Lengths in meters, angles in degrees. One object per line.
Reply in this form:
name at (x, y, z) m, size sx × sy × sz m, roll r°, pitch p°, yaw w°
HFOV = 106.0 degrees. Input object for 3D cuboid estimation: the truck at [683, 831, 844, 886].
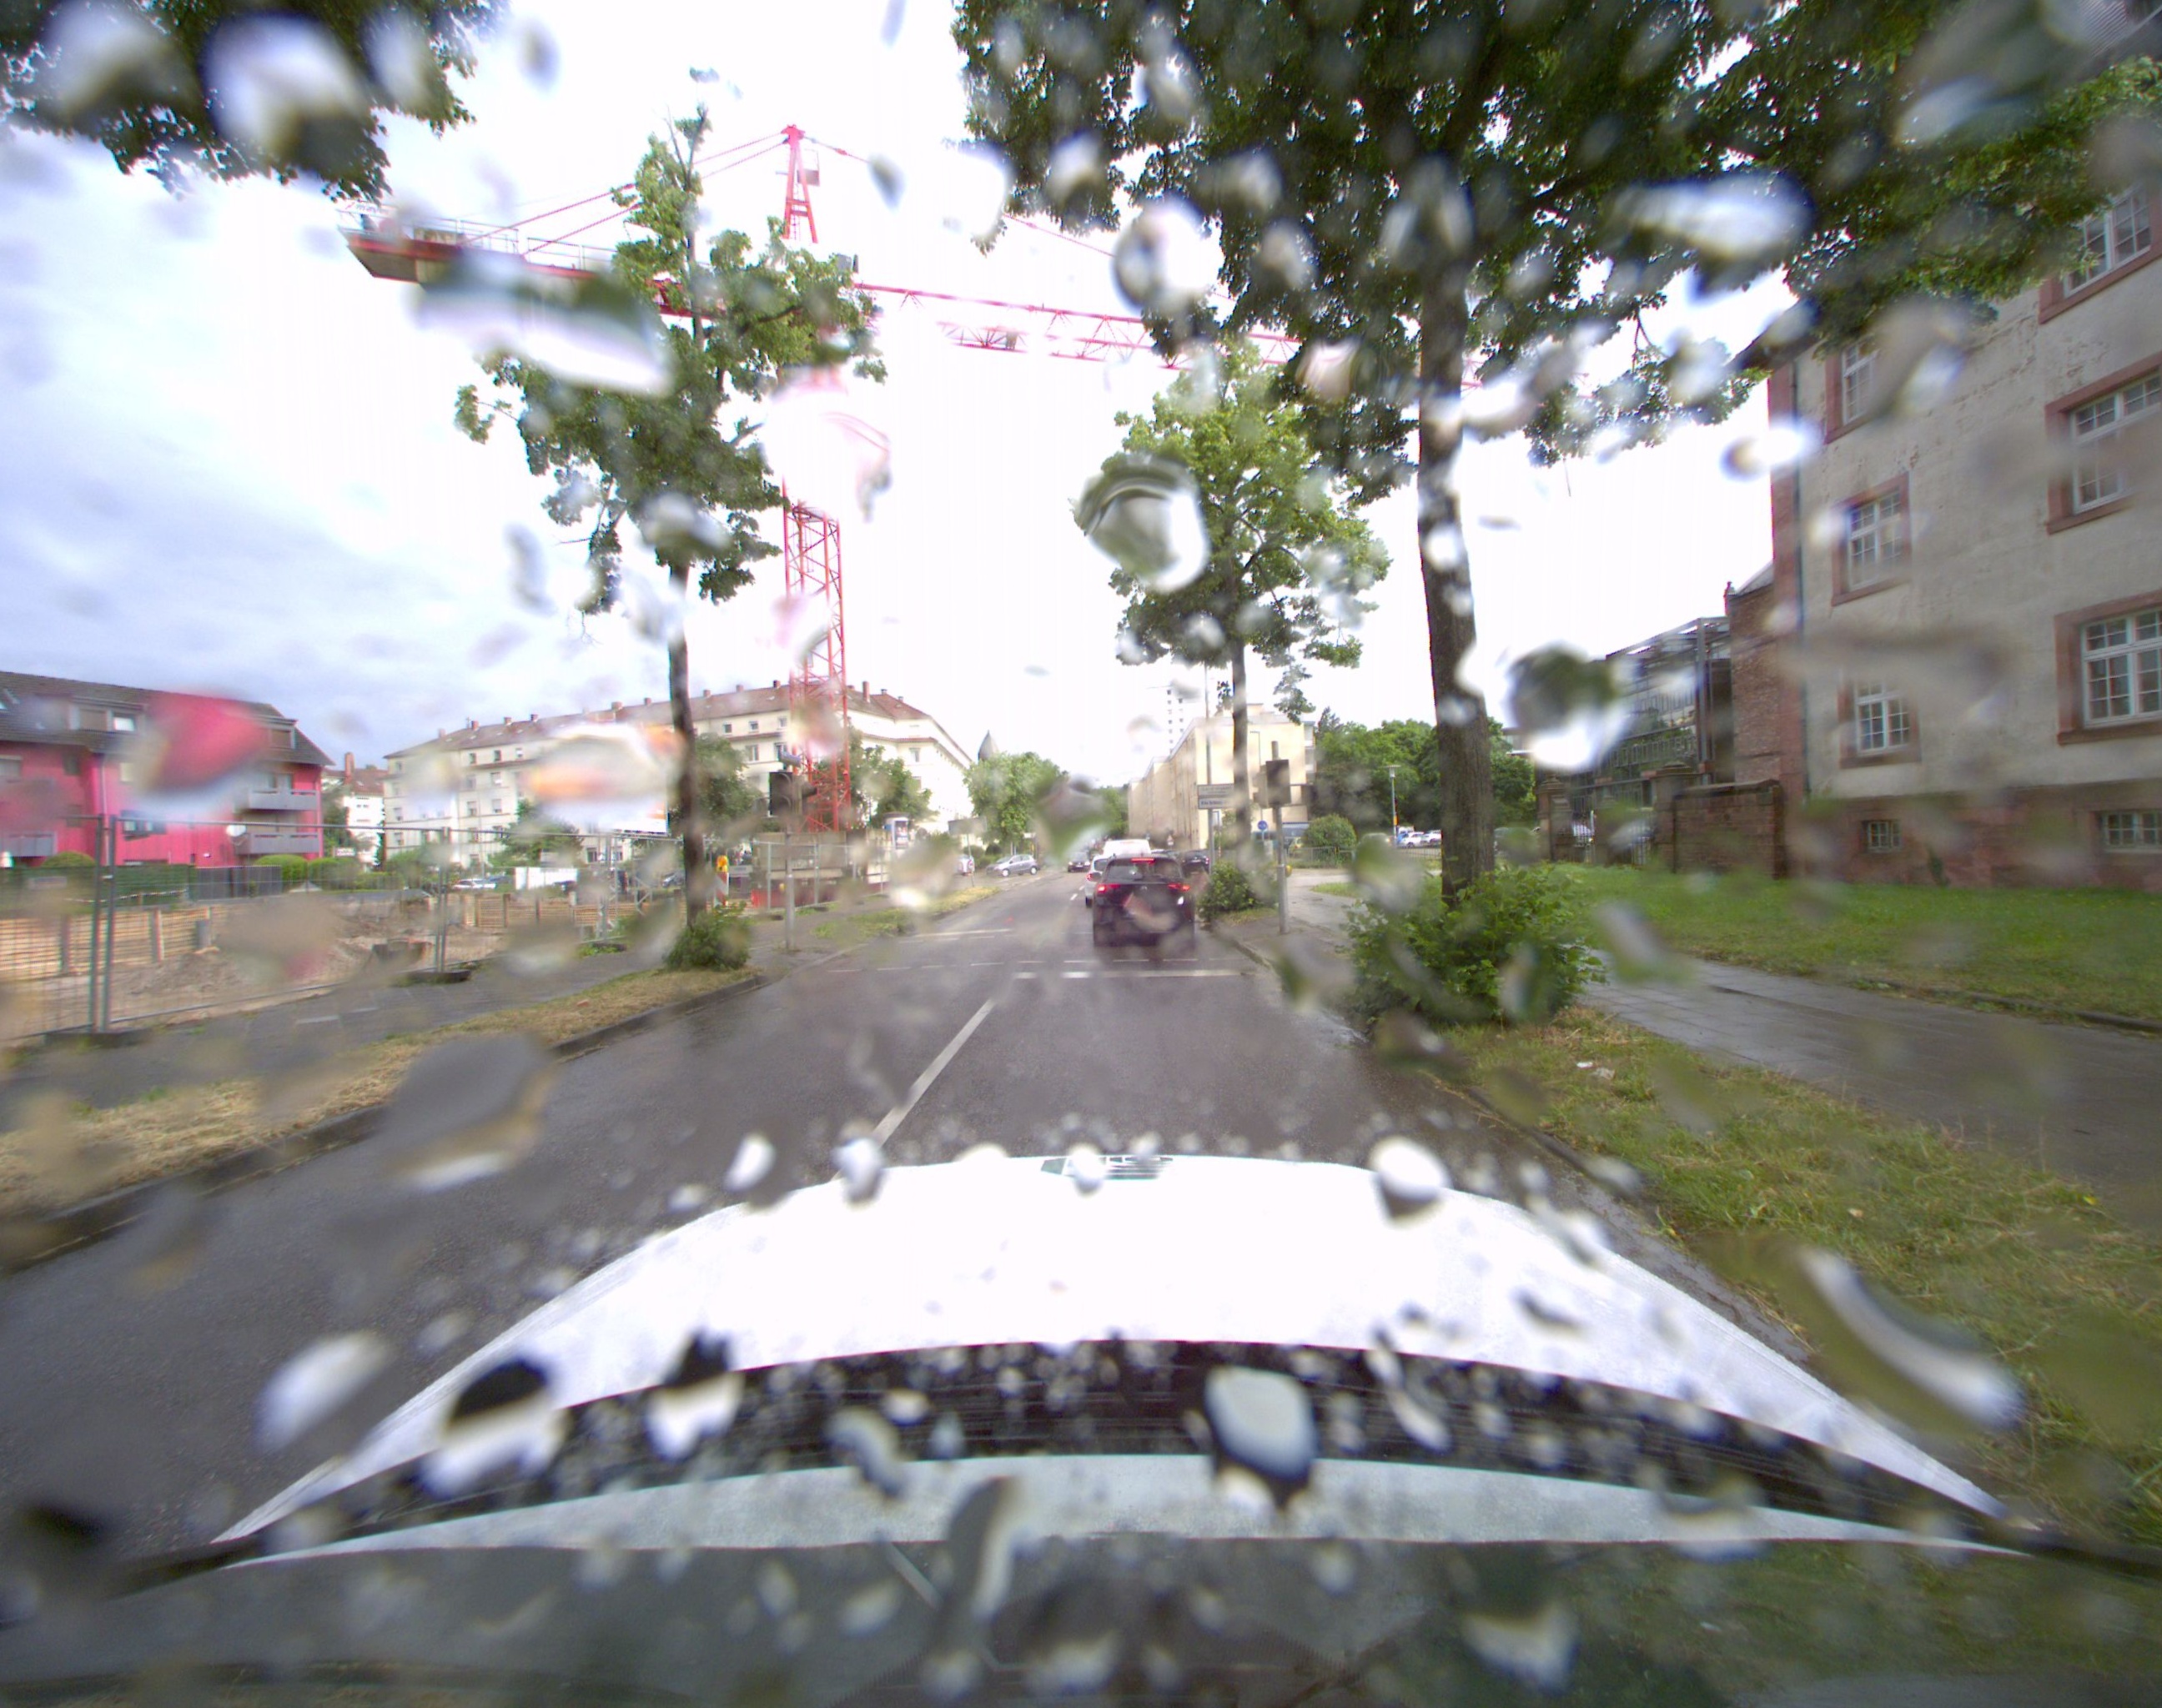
truck at (-21.750, 0.315, 55.910) m, size 9.740 × 3.184 × 3.808 m, roll -3°, pitch 0°, yaw 15°

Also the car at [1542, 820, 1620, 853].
car at (27.667, -0.944, 45.243) m, size 1.845 × 1.679 × 4.428 m, roll -3°, pitch 0°, yaw 4°

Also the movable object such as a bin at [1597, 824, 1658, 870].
movable object such as a bin at (18.509, -0.252, 27.641) m, size 1.101 × 1.457 × 1.392 m, roll -4°, pitch 0°, yaw 3°

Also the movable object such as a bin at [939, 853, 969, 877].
movable object such as a bin at (-9.682, 0.832, 62.248) m, size 1.524 × 1.674 × 1.674 m, roll -3°, pitch 1°, yaw 21°

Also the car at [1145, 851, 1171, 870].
car at (6.613, 0.552, 70.273) m, size 1.744 × 1.508 × 4.109 m, roll -2°, pitch 0°, yaw -2°

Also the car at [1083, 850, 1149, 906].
car at (1.044, 0.680, 24.424) m, size 1.806 × 1.503 × 4.002 m, roll -1°, pitch -1°, yaw 2°

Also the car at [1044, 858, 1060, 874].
car at (-3.154, 1.280, 87.869) m, size 1.582 × 1.505 × 4.061 m, roll -4°, pitch 0°, yaw -2°

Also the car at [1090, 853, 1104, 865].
car at (2.420, 0.681, 121.933) m, size 1.733 × 1.608 × 3.678 m, roll -4°, pitch 0°, yaw 3°

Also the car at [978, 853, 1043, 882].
car at (-4.825, 0.910, 56.065) m, size 4.024 × 1.637 × 1.872 m, roll -4°, pitch 0°, yaw -44°

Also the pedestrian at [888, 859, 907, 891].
pedestrian at (-9.253, 1.057, 41.106) m, size 0.727 × 1.630 × 0.677 m, roll 0°, pitch -1°, yaw -36°

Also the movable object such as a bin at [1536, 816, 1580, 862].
movable object such as a bin at (16.102, -0.504, 27.526) m, size 0.796 × 1.457 × 1.098 m, roll -4°, pitch 0°, yaw 3°

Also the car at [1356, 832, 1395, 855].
car at (20.998, -0.767, 58.209) m, size 1.641 × 1.486 × 3.724 m, roll -3°, pitch 1°, yaw 5°

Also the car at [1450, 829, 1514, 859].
car at (22.755, -0.572, 46.392) m, size 1.819 × 1.527 × 4.432 m, roll -3°, pitch 0°, yaw 7°

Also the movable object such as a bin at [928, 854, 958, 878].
movable object such as a bin at (-10.276, 0.887, 60.700) m, size 1.524 × 1.656 × 1.536 m, roll -3°, pitch 1°, yaw 21°

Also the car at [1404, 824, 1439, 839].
car at (36.557, -2.440, 87.485) m, size 3.209 × 1.397 × 1.511 m, roll -3°, pitch 0°, yaw 5°

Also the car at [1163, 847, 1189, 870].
car at (6.858, 0.339, 58.950) m, size 1.748 × 1.528 × 4.006 m, roll 1°, pitch -2°, yaw 6°

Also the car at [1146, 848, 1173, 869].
car at (6.190, 0.371, 64.356) m, size 1.599 × 1.508 × 4.159 m, roll -5°, pitch 0°, yaw 0°

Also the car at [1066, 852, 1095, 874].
car at (0.012, 0.641, 60.317) m, size 1.805 × 1.540 × 3.986 m, roll -2°, pitch -1°, yaw 4°

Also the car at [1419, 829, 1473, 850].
car at (29.922, -1.170, 66.888) m, size 3.649 × 1.486 × 1.642 m, roll -3°, pitch 0°, yaw 5°

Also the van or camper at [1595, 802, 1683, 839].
van or camper at (40.012, -2.373, 58.462) m, size 4.768 × 2.486 × 2.258 m, roll -1°, pitch -1°, yaw 1°

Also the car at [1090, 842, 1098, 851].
car at (2.956, -1.717, 190.052) m, size 1.660 × 1.837 × 4.000 m, roll -3°, pitch 0°, yaw 0°

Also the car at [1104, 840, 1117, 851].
car at (4.685, -1.273, 126.904) m, size 1.833 × 1.608 × 3.678 m, roll -4°, pitch 0°, yaw 3°

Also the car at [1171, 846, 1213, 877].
car at (6.408, 0.400, 47.504) m, size 1.768 × 1.539 × 4.378 m, roll -5°, pitch 0°, yaw 1°

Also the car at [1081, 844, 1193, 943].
car at (1.016, 0.673, 15.713) m, size 1.866 × 1.645 × 4.063 m, roll -1°, pitch 0°, yaw 2°

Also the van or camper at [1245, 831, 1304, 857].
van or camper at (17.216, -0.895, 72.661) m, size 4.736 × 2.131 × 2.325 m, roll -2°, pitch 1°, yaw 5°

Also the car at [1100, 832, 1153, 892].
car at (1.750, 0.307, 30.816) m, size 1.828 × 2.103 × 4.004 m, roll -1°, pitch -1°, yaw 4°

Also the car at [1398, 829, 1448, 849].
car at (30.283, -1.312, 72.159) m, size 3.649 × 1.486 × 1.642 m, roll -3°, pitch 0°, yaw 5°

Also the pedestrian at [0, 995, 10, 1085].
pedestrian at (-20.796, 3.548, 15.115) m, size 0.584 × 1.685 × 0.850 m, roll -5°, pitch -1°, yaw 7°

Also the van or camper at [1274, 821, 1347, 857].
van or camper at (17.559, -1.134, 62.515) m, size 4.977 × 2.554 × 2.177 m, roll -2°, pitch -1°, yaw 3°

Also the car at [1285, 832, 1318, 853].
car at (15.942, -0.817, 59.005) m, size 1.604 × 1.448 × 3.419 m, roll -3°, pitch 0°, yaw 3°

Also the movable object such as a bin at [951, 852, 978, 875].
movable object such as a bin at (-9.119, 0.757, 63.750) m, size 1.524 × 1.662 × 1.466 m, roll -3°, pitch 1°, yaw 21°
